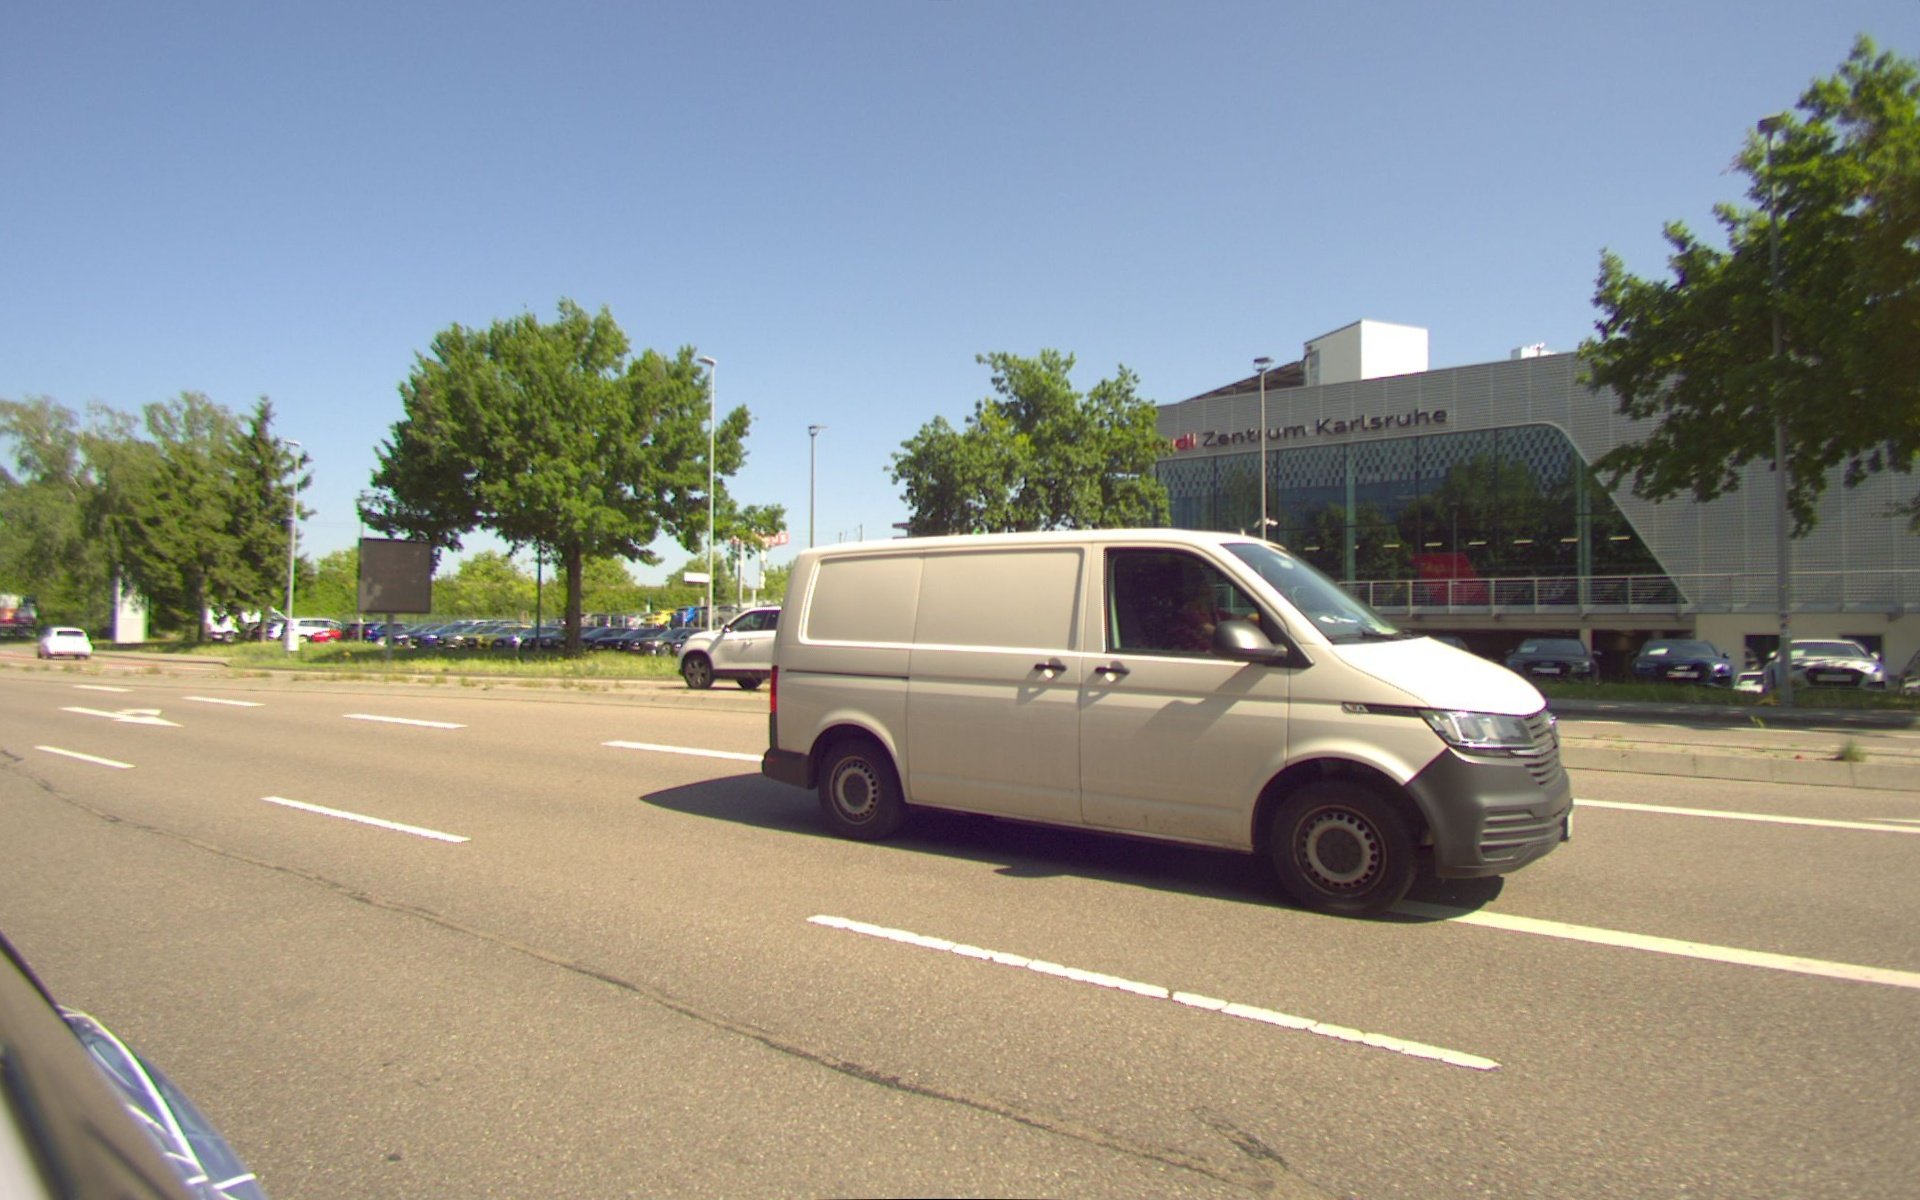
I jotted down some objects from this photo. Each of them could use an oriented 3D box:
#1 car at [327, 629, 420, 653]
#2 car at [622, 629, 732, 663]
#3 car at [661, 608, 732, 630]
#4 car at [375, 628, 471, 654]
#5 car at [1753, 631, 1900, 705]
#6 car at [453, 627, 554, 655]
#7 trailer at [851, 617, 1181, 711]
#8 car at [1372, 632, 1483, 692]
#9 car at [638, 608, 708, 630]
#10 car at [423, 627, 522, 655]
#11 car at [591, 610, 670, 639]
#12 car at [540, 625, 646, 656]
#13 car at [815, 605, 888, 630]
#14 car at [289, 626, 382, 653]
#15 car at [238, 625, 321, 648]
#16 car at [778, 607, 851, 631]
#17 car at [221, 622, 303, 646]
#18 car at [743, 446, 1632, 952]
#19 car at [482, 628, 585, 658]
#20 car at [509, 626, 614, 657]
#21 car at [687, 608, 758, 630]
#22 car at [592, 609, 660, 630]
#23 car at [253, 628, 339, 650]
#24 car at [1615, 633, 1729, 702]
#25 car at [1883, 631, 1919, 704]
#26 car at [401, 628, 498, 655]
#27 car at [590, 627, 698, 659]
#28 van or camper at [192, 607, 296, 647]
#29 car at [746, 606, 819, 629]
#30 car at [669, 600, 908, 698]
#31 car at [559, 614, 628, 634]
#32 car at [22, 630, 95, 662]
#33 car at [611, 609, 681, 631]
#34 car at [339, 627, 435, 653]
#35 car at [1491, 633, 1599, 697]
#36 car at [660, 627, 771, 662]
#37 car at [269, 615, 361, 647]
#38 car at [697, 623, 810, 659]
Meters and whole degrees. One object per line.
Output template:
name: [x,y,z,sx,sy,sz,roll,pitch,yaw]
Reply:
car: [-33.936,2.349,58.631,1.950,1.338,4.226,-1,-3,37]
car: [-12.038,1.937,43.263,1.950,1.361,4.226,-1,-3,37]
car: [-17.280,1.269,66.551,1.950,1.361,4.228,-1,-3,36]
car: [-29.356,2.236,55.417,1.950,1.361,4.226,-1,-3,37]
car: [18.118,1.371,21.344,1.920,1.386,3.952,-1,-3,35]
car: [-22.981,2.052,51.018,1.950,1.361,4.226,-1,-3,37]
trailer: [0.885,1.081,18.260,5.755,1.464,1.977,-1,-3,33]
car: [11.976,1.536,25.789,1.920,1.386,3.952,-1,-3,35]
car: [-19.160,1.285,67.732,1.950,1.361,4.228,-1,-3,36]
car: [-25.189,2.108,52.424,1.950,1.361,4.226,-1,-3,37]
car: [-19.829,1.522,61.037,1.950,1.655,4.226,-1,-3,37]
car: [-16.881,1.860,46.657,1.950,1.361,4.226,-1,-3,37]
car: [-6.310,1.059,59.281,1.950,1.361,4.228,-1,-3,36]
car: [-36.803,2.316,59.723,1.950,1.515,4.226,-1,-3,37]
car: [-42.968,2.320,63.945,1.742,1.364,4.045,-1,-2,40]
car: [-8.605,1.149,60.075,1.950,1.361,4.228,-1,-3,36]
car: [-45.008,2.202,65.290,1.742,1.450,4.045,-2,-3,40]
car: [1.110,0.466,6.204,4.961,2.009,1.866,-1,-3,34]
car: [-20.817,2.091,49.535,1.950,1.361,4.226,-1,-3,37]
car: [-18.762,1.950,47.787,1.950,1.361,4.226,-1,-3,37]
car: [-15.161,1.248,64.782,1.950,1.361,4.228,-1,-3,36]
car: [-23.242,1.361,70.536,1.950,1.361,4.228,-1,-3,36]
car: [-40.786,2.380,62.204,1.741,1.303,4.049,-1,-3,37]
car: [16.005,1.466,22.824,1.920,1.386,3.952,-1,-3,35]
car: [20.030,1.330,20.118,1.920,1.386,3.952,-1,-3,35]
car: [-27.137,2.199,53.907,1.950,1.361,4.226,-1,-3,37]
car: [-13.891,1.887,44.633,1.950,1.361,4.226,-1,-3,37]
van or camper: [-47.906,1.808,67.831,1.994,2.489,5.336,-3,-1,32]
car: [-10.777,1.097,61.668,1.950,1.361,4.228,-1,-3,36]
car: [-3.655,1.001,21.276,4.922,1.847,1.978,-1,-3,33]
car: [-26.021,1.700,71.936,1.950,1.361,4.228,-1,-3,36]
car: [-42.956,2.189,48.188,3.539,1.475,1.641,-1,-4,33]
car: [-21.399,1.388,69.043,1.950,1.361,4.228,-1,-3,36]
car: [-31.923,2.249,56.491,1.950,1.392,4.226,-1,-3,37]
car: [14.065,1.514,24.228,1.920,1.386,3.952,-1,-3,35]
car: [-10.044,1.810,41.834,1.950,1.361,4.226,-1,-3,37]
car: [-38.741,1.887,60.892,1.950,1.899,4.226,-1,-3,37]
car: [-8.229,1.637,40.567,1.950,1.361,4.226,-1,-3,37]
